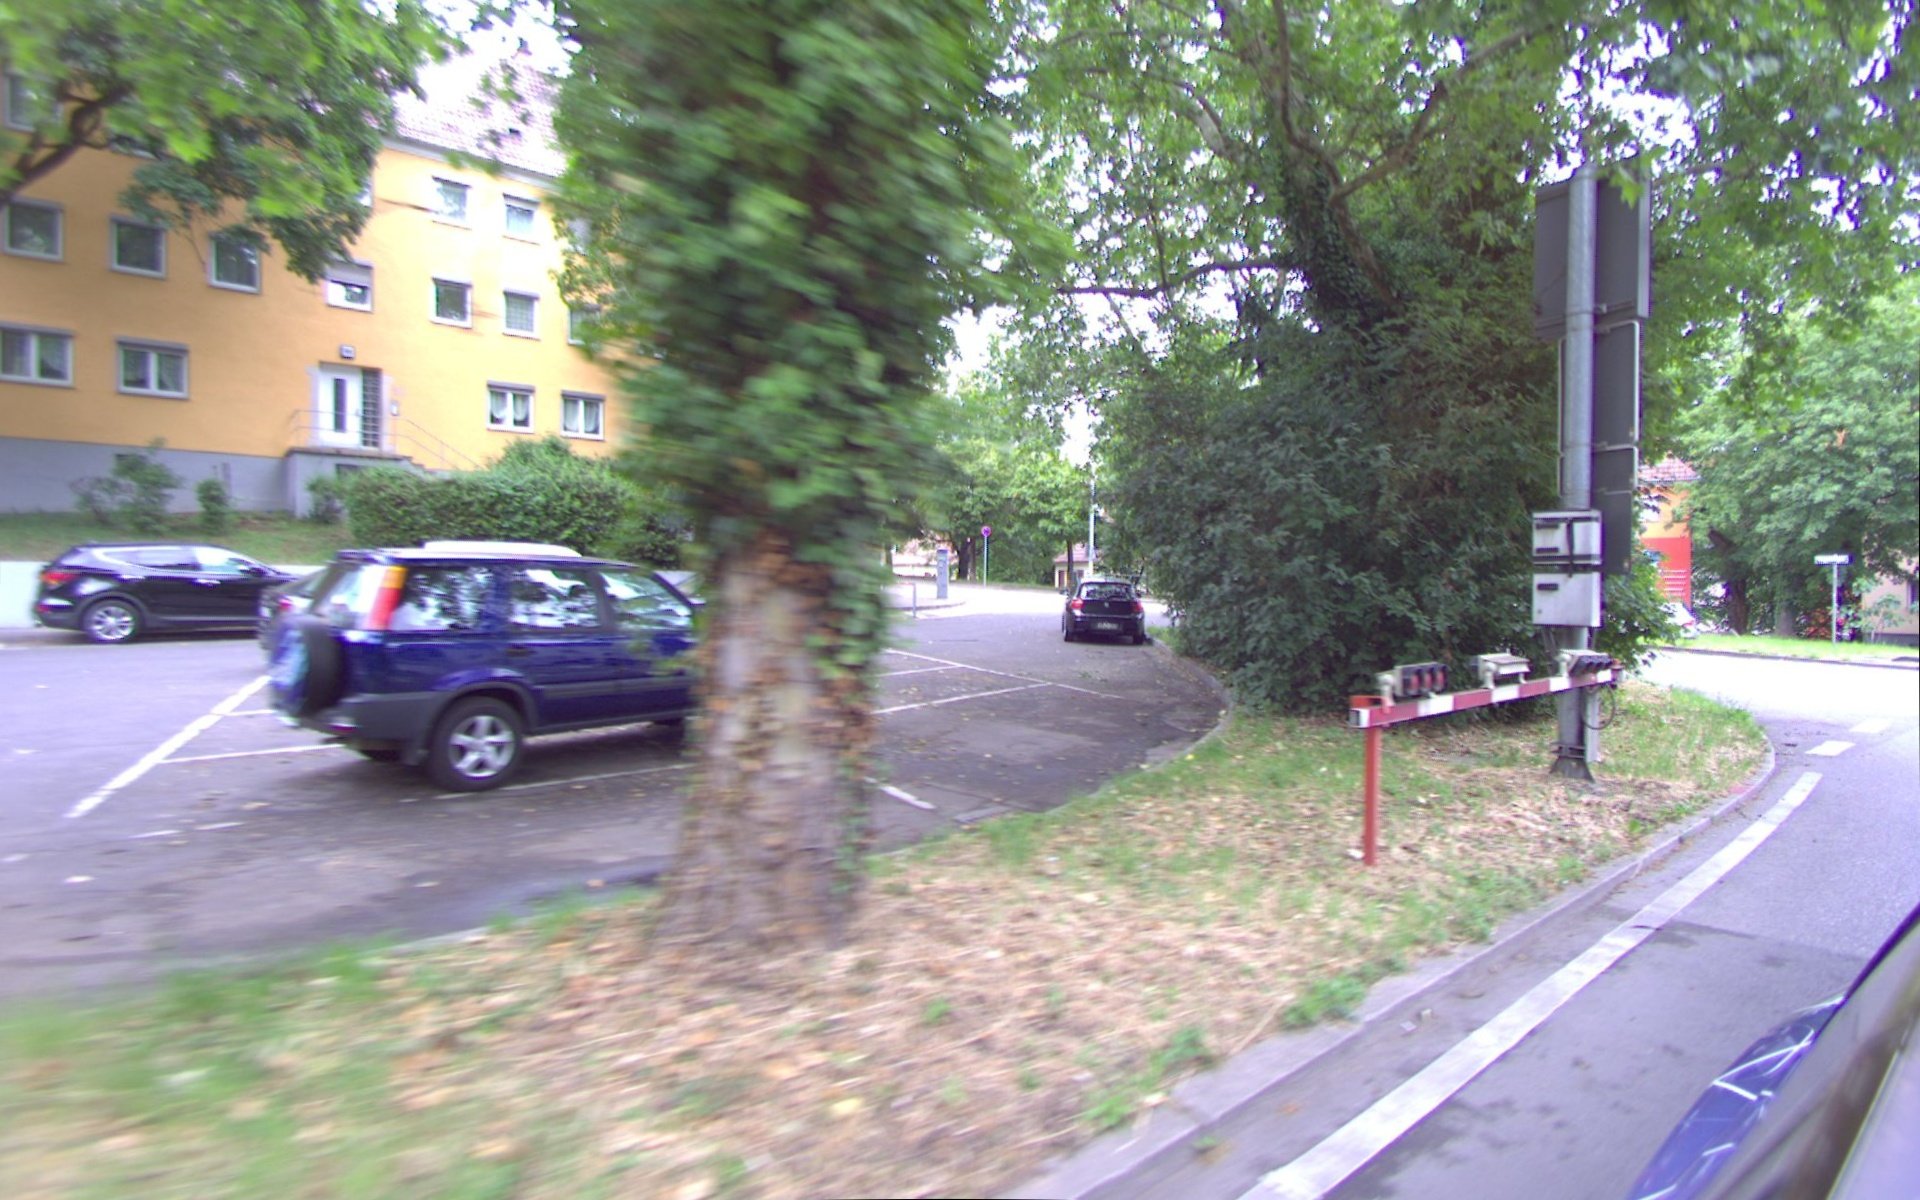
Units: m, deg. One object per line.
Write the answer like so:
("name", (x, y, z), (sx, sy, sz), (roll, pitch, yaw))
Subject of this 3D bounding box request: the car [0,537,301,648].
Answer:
("car", (-14.025, -0.188, 17.428), (4.281, 1.692, 1.998), (-1, 3, -40))

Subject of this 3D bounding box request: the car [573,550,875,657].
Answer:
("car", (-3.977, 0.019, 17.710), (1.994, 1.597, 4.826), (3, 2, 44))

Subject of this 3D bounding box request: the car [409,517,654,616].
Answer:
("car", (-9.138, -0.727, 21.761), (4.515, 1.909, 1.999), (-1, 3, -37))

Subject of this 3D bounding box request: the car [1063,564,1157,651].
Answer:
("car", (3.349, 0.068, 23.327), (1.831, 1.502, 4.423), (4, 5, 6))

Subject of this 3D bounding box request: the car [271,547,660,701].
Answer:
("car", (-6.066, 0.201, 12.696), (4.061, 1.588, 1.734), (-1, 4, -43))

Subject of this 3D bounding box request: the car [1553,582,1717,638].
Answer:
("car", (21.380, 0.292, 32.134), (4.113, 1.446, 1.835), (4, 0, 40))

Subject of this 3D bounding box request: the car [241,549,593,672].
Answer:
("car", (-7.547, 0.066, 14.336), (1.732, 1.445, 4.066), (4, 4, 43))

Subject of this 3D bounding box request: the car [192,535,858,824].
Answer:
("car", (-3.189, 0.375, 8.407), (1.806, 1.685, 4.817), (4, 4, 39))
